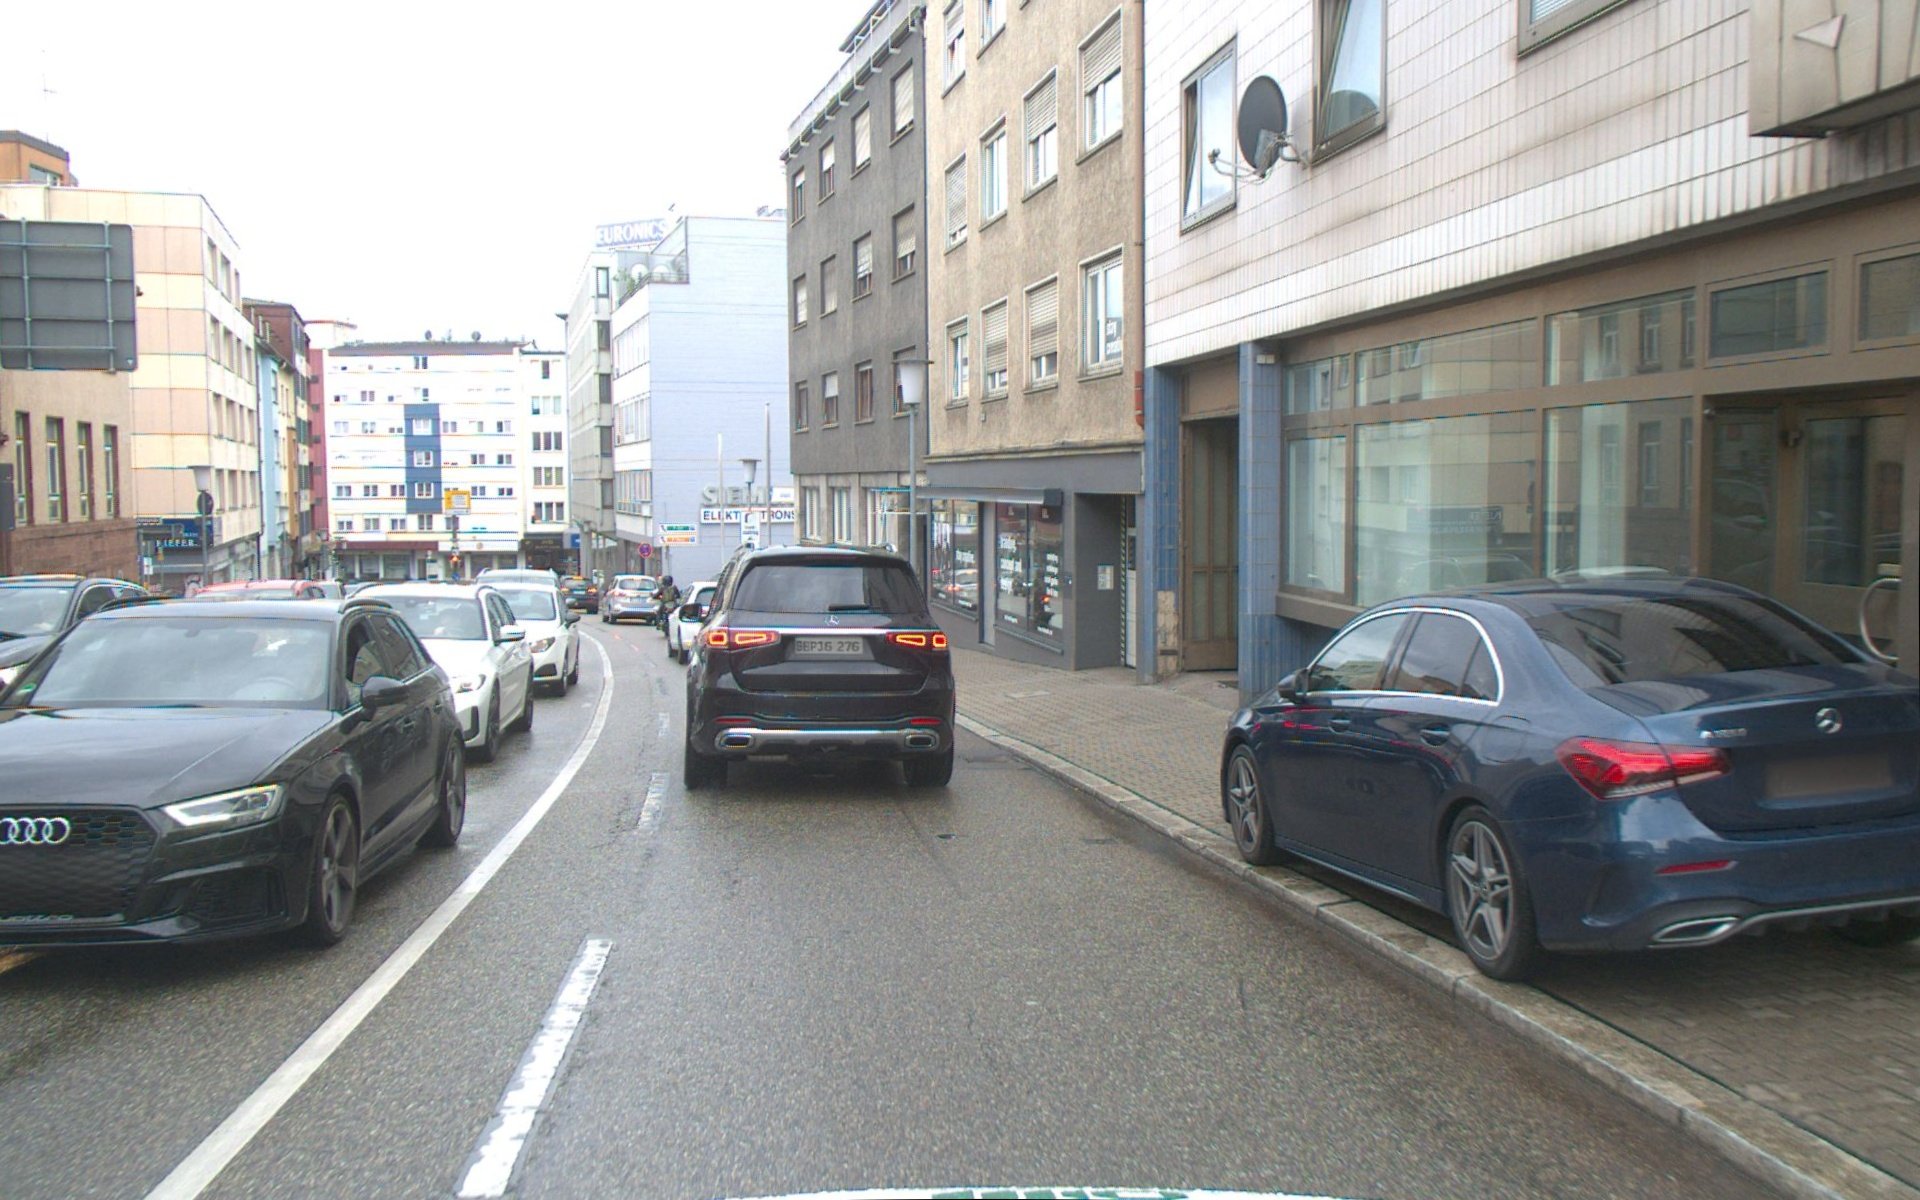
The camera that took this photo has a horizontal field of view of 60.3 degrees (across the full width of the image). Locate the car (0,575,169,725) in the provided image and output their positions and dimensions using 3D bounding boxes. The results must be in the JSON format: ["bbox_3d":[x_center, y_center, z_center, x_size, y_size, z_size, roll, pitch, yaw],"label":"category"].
[{"bbox_3d":[-12.547,0.649,22.948,1.696,1.861,4.051,-3,1,-10],"label":"car"}]

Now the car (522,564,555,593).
[{"bbox_3d":[-23.465,-1.207,91.947,1.500,1.575,3.090,-1,2,-20],"label":"car"}]

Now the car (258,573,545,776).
[{"bbox_3d":[-4.956,0.563,15.289,1.774,1.547,4.551,-1,0,-10],"label":"car"}]

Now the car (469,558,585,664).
[{"bbox_3d":[-7.726,0.178,29.842,1.775,1.735,4.548,1,0,-12],"label":"car"}]

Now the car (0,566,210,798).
[{"bbox_3d":[-7.940,0.626,13.903,1.773,1.659,4.334,-3,1,-9],"label":"car"}]

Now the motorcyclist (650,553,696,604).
[{"bbox_3d":[-7.317,-0.564,42.008,0.854,1.075,2.927,-1,5,-16],"label":"motorcyclist"}]

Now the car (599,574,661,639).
[{"bbox_3d":[-10.938,0.165,54.718,1.725,1.810,3.562,-1,5,-16],"label":"car"}]

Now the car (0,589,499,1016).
[{"bbox_3d":[-3.506,0.686,7.830,1.772,1.439,4.374,-1,0,-5],"label":"car"}]

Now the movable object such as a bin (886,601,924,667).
[{"bbox_3d":[-0.862,0.524,25.655,0.515,0.966,0.536,0,5,-9],"label":"movable object such as a bin"}]

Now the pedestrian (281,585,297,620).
[{"bbox_3d":[-33.671,0.135,83.016,0.729,1.680,0.602,-1,5,-21],"label":"pedestrian"}]

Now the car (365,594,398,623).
[{"bbox_3d":[-35.147,0.482,100.512,1.688,1.613,4.122,-4,1,-18],"label":"car"}]

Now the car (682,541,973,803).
[{"bbox_3d":[-1.278,0.444,13.664,1.984,1.769,4.737,0,1,-10],"label":"car"}]

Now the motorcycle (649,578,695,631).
[{"bbox_3d":[-7.321,0.087,41.966,0.854,1.075,2.927,-1,5,-16],"label":"motorcycle"}]

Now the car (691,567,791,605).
[{"bbox_3d":[-9.516,-0.584,71.988,3.957,1.625,1.776,0,-1,-37],"label":"car"}]

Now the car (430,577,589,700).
[{"bbox_3d":[-6.087,0.472,22.754,1.667,1.506,4.281,1,0,-10],"label":"car"}]

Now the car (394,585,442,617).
[{"bbox_3d":[-26.384,0.036,80.586,1.668,1.506,4.279,1,0,-11],"label":"car"}]

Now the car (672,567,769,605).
[{"bbox_3d":[-10.720,-0.606,74.203,3.957,1.625,1.776,0,-1,-37],"label":"car"}]

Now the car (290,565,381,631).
[{"bbox_3d":[-17.046,-0.076,45.314,1.626,1.638,3.917,-3,1,-11],"label":"car"}]

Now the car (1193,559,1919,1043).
[{"bbox_3d":[2.513,0.598,7.407,1.731,1.416,4.371,-3,1,-8],"label":"car"}]

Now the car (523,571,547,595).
[{"bbox_3d":[-28.513,-1.150,110.930,1.497,1.575,3.094,-1,2,-16],"label":"car"}]

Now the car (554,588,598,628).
[{"bbox_3d":[-16.383,0.327,70.524,1.500,1.575,3.090,-1,2,-20],"label":"car"}]

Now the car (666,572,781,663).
[{"bbox_3d":[-4.526,0.298,31.147,1.798,1.487,4.366,-3,1,-12],"label":"car"}]

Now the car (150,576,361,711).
[{"bbox_3d":[-9.289,0.511,22.137,1.709,1.542,4.119,-3,1,-11],"label":"car"}]

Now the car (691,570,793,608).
[{"bbox_3d":[-9.109,-0.436,69.343,3.957,1.521,1.710,0,-1,-37],"label":"car"}]
